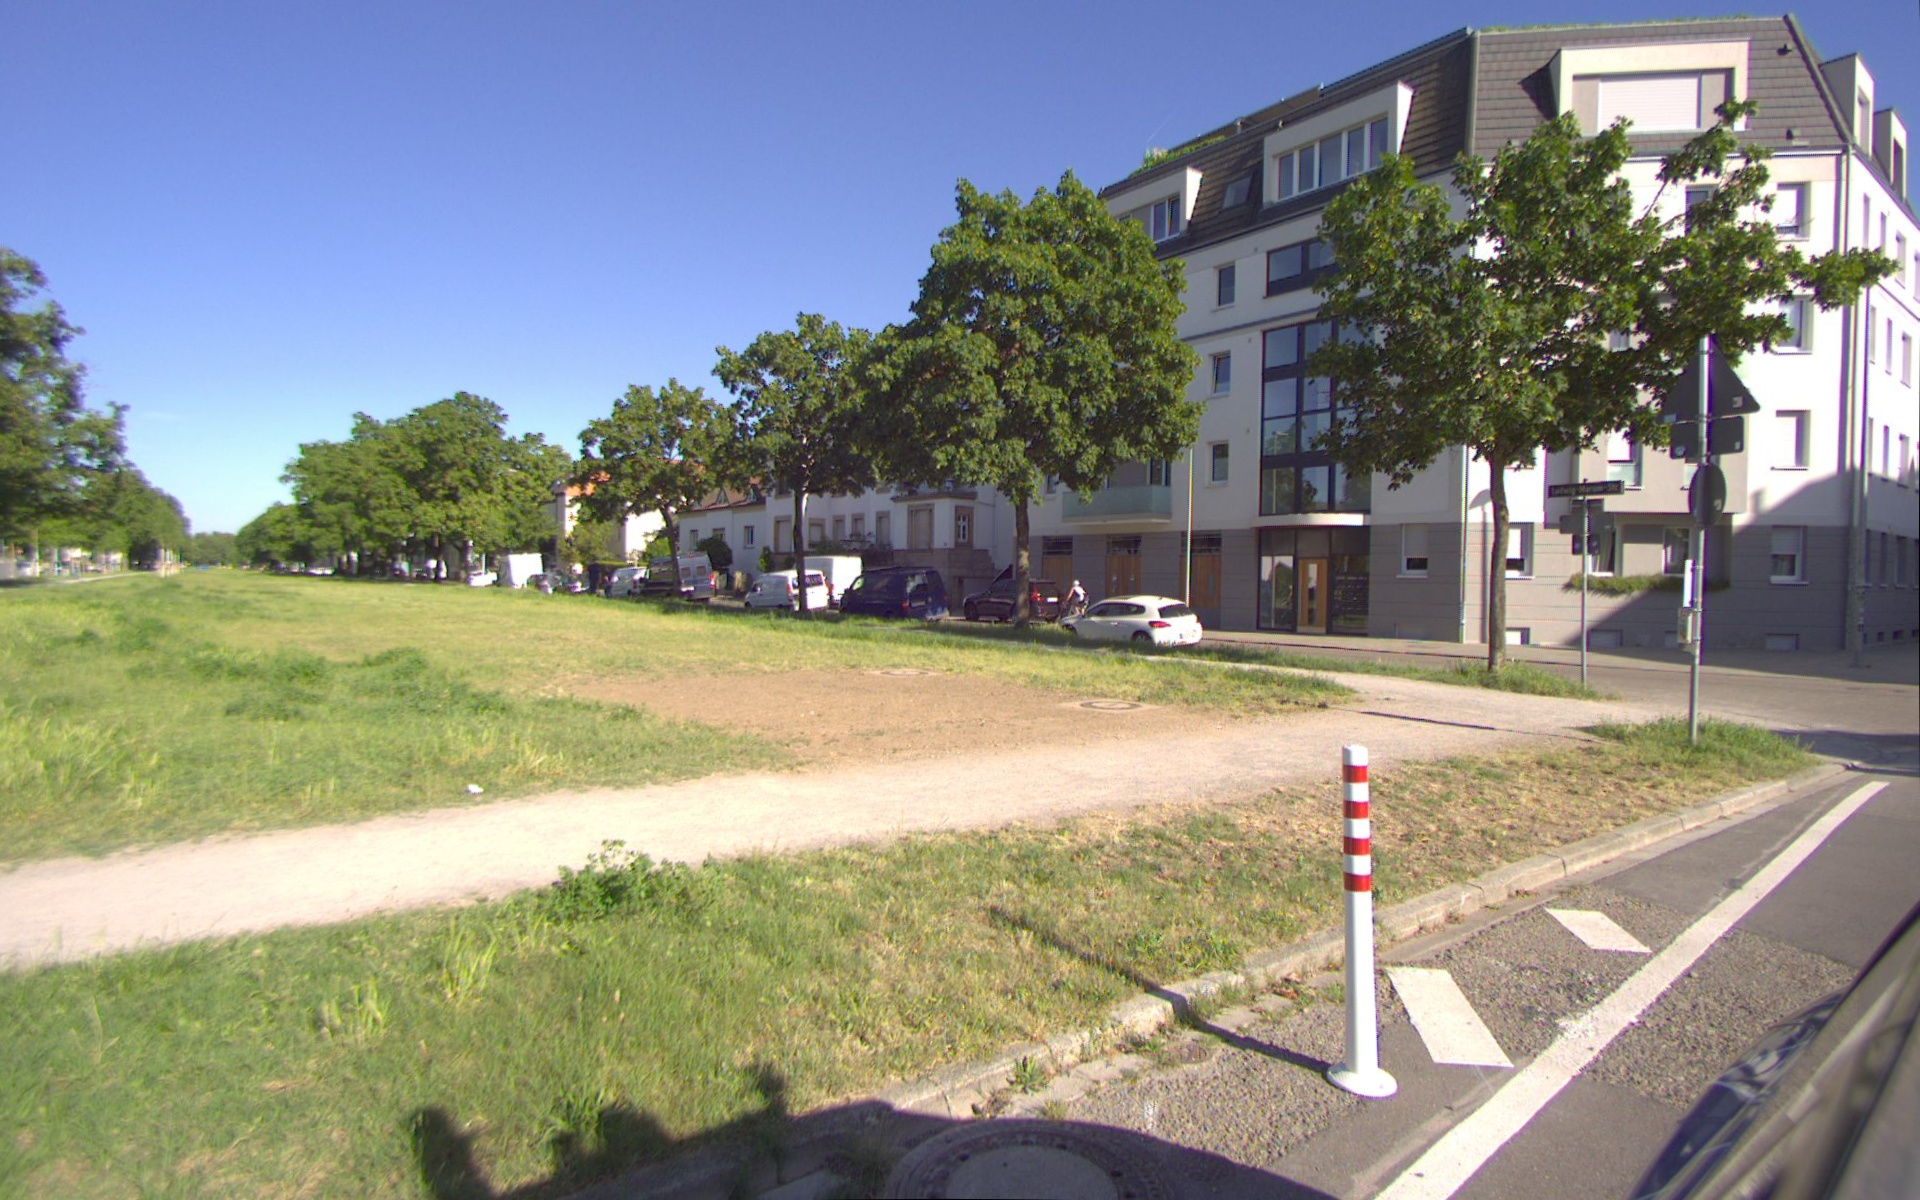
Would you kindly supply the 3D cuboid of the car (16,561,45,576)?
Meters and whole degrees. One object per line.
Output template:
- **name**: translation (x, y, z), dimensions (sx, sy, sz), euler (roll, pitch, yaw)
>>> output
- **car**: translation (-90.330, -3.043, 98.355), dimensions (1.690, 1.358, 3.808), euler (0, 2, -37)

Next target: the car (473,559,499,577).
- **car**: translation (-50.547, -3.440, 107.825), dimensions (1.831, 1.868, 3.994), euler (0, 2, -36)

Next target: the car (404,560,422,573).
- **car**: translation (-79.045, -4.844, 146.184), dimensions (1.831, 1.868, 3.994), euler (0, 2, -36)

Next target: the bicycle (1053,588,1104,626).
- **bicycle**: translation (3.713, 0.201, 31.741), dimensions (0.498, 1.102, 1.707), euler (0, 2, -40)

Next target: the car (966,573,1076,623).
- **car**: translation (2.241, -0.138, 38.059), dimensions (1.861, 1.703, 4.289), euler (-1, 3, -36)

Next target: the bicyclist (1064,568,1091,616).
- **bicyclist**: translation (3.690, -0.246, 31.771), dimensions (0.489, 1.482, 0.687), euler (0, 1, -40)

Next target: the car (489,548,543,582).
- **car**: translation (-33.309, -2.622, 75.746), dimensions (2.503, 2.363, 5.920), euler (0, 2, -36)

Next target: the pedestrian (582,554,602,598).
- **pedestrian**: translation (-16.027, -1.045, 44.049), dimensions (0.632, 1.900, 0.629), euler (0, 1, -38)

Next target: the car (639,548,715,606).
- **car**: translation (-14.041, -1.180, 50.098), dimensions (2.153, 2.615, 4.288), euler (-5, 5, -36)

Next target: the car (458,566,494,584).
- **car**: translation (-42.325, -2.238, 88.447), dimensions (2.042, 1.484, 4.728), euler (0, 2, -36)

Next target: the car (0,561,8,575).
- **car**: translation (-101.047, -3.374, 105.865), dimensions (1.690, 1.358, 3.808), euler (0, 2, -37)

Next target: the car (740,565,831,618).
- **car**: translation (-7.087, -0.403, 40.796), dimensions (1.842, 1.906, 4.425), euler (-5, 5, -34)

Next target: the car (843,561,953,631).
- **car**: translation (-2.133, -0.211, 34.039), dimensions (1.752, 2.108, 3.994), euler (-5, 5, -36)

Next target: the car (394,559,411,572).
- **car**: translation (-87.480, -5.395, 158.711), dimensions (1.831, 1.868, 3.994), euler (0, 2, -36)

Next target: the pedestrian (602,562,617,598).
- **pedestrian**: translation (-15.284, -0.873, 44.123), dimensions (0.487, 1.524, 0.535), euler (1, 1, -37)

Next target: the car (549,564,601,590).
- **car**: translation (-24.580, -1.482, 64.577), dimensions (2.046, 1.618, 4.288), euler (0, 2, -36)

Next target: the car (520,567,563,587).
- **car**: translation (-29.263, -1.610, 70.715), dimensions (1.898, 1.361, 4.109), euler (0, 1, -36)

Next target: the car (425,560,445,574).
- **car**: translation (-70.603, -4.407, 136.175), dimensions (1.831, 1.868, 3.994), euler (0, 2, -36)

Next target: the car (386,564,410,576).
- **car**: translation (-69.374, -3.708, 124.836), dimensions (2.042, 1.484, 4.728), euler (0, 2, -36)

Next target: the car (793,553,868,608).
- **car**: translation (-6.402, -1.020, 49.739), dimensions (1.985, 2.580, 3.994), euler (-1, 3, -36)

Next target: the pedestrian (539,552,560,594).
- **pedestrian**: translation (-18.929, -1.240, 46.653), dimensions (0.711, 1.900, 0.629), euler (0, 1, -38)

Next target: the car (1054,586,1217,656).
- **car**: translation (4.377, 0.456, 25.726), dimensions (1.709, 1.450, 3.993), euler (-5, 5, -37)

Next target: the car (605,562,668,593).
- **car**: translation (-17.853, -1.235, 55.746), dimensions (2.046, 1.618, 4.288), euler (0, 2, -36)
